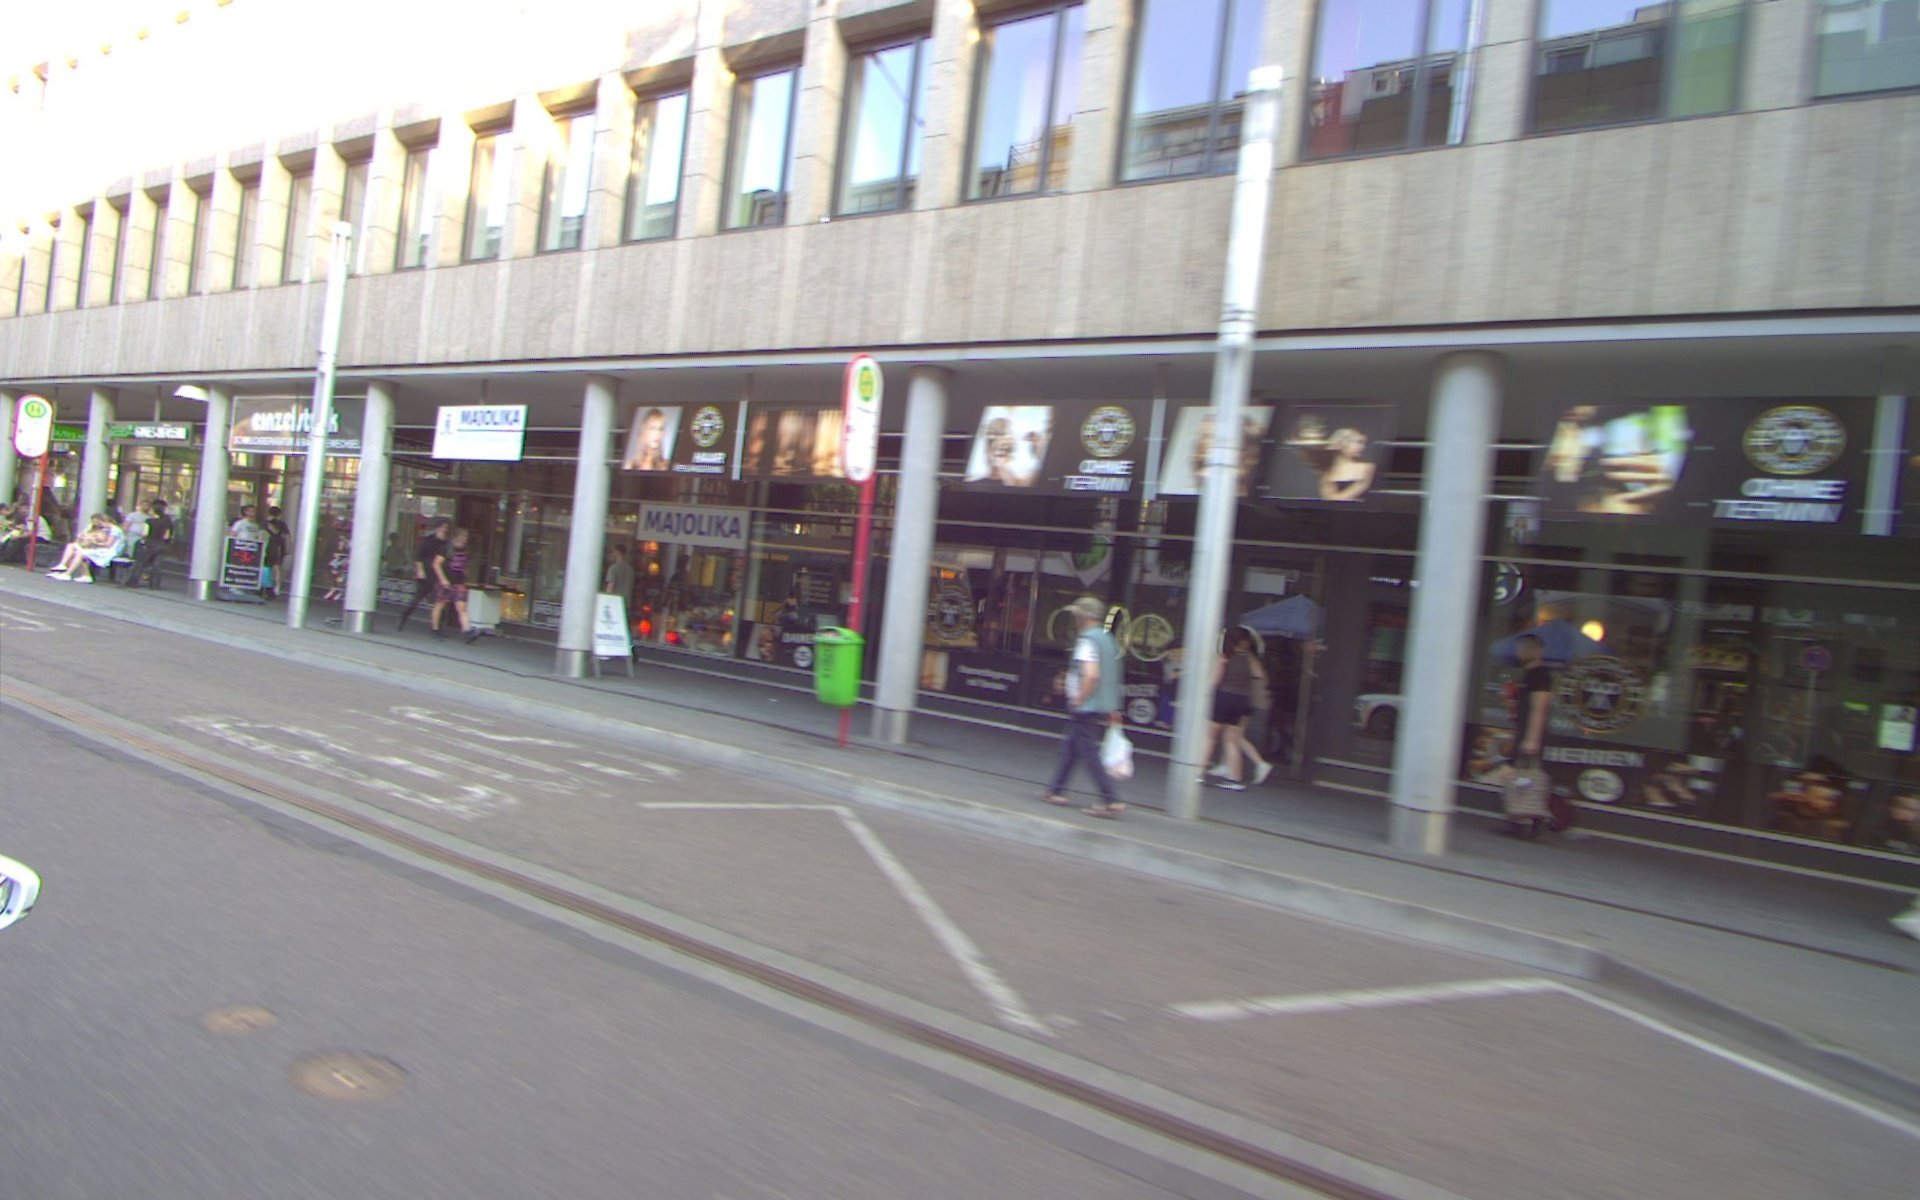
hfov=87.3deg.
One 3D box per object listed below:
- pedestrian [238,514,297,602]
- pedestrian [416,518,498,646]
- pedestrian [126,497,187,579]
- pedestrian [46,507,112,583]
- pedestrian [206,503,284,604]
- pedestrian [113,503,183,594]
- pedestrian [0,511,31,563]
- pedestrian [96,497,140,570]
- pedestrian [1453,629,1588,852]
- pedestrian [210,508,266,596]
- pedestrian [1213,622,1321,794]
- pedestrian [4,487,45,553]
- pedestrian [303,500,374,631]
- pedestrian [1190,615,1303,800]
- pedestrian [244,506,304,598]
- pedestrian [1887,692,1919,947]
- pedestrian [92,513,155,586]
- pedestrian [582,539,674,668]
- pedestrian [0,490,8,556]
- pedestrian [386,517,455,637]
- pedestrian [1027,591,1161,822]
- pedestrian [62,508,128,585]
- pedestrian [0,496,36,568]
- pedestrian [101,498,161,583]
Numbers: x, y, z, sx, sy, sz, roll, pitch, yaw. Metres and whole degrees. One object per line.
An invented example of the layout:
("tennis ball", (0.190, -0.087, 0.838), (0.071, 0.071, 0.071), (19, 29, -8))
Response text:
("pedestrian", (-13.969, -0.841, 20.302), (0.669, 1.682, 0.648), (7, 1, 32))
("pedestrian", (-7.962, -0.274, 15.928), (0.783, 1.913, 0.707), (6, 1, 31))
("pedestrian", (-18.696, -1.441, 23.421), (0.761, 1.794, 0.774), (6, 1, 29))
("pedestrian", (-16.799, -1.051, 19.183), (0.523, 1.330, 0.719), (6, -1, 32))
("pedestrian", (-13.824, -0.890, 19.451), (0.844, 1.820, 0.845), (6, 1, 31))
("pedestrian", (-15.152, -0.951, 18.775), (0.724, 1.590, 0.725), (6, 1, 32))
("pedestrian", (-20.469, -1.375, 21.410), (0.535, 1.055, 0.814), (6, -1, 32))
("pedestrian", (-21.356, -1.677, 25.507), (0.607, 1.753, 0.571), (7, 1, 29))
("pedestrian", (4.954, 1.205, 8.922), (0.849, 1.794, 0.674), (6, 1, 30))
("pedestrian", (-15.307, -1.014, 21.338), (0.760, 1.775, 0.583), (7, 1, 29))
("pedestrian", (3.260, 1.119, 10.678), (0.805, 1.665, 0.711), (6, 1, 30))
("pedestrian", (-26.211, -2.230, 28.187), (0.607, 1.753, 0.571), (7, 1, 29))
("pedestrian", (-9.822, -0.537, 15.896), (0.644, 1.968, 0.578), (6, 1, 30))
("pedestrian", (2.829, 1.034, 9.915), (0.775, 1.665, 0.681), (6, 1, 30))
("pedestrian", (-14.911, -1.038, 21.879), (0.760, 1.906, 0.688), (7, 1, 29))
("pedestrian", (6.837, 1.495, 6.667), (0.728, 1.665, 0.748), (6, 1, 30))
("pedestrian", (-16.524, -0.993, 19.879), (0.523, 1.330, 0.719), (6, -1, 32))
("pedestrian", (-5.252, 0.064, 15.932), (0.884, 1.913, 0.845), (6, 1, 31))
("pedestrian", (-24.785, -2.004, 25.529), (0.639, 1.682, 0.648), (7, 1, 31))
("pedestrian", (-8.960, -0.376, 16.715), (0.672, 1.913, 0.616), (6, 1, 32))
("pedestrian", (1.031, 0.793, 7.657), (0.627, 1.606, 0.670), (6, -2, 30))
("pedestrian", (-16.309, -0.997, 18.971), (0.516, 1.330, 0.719), (6, -1, 32))
("pedestrian", (-19.856, -1.431, 20.829), (0.651, 1.397, 0.814), (6, -1, 32))
("pedestrian", (-17.609, -1.262, 21.372), (0.710, 1.682, 0.688), (6, 1, 32))
